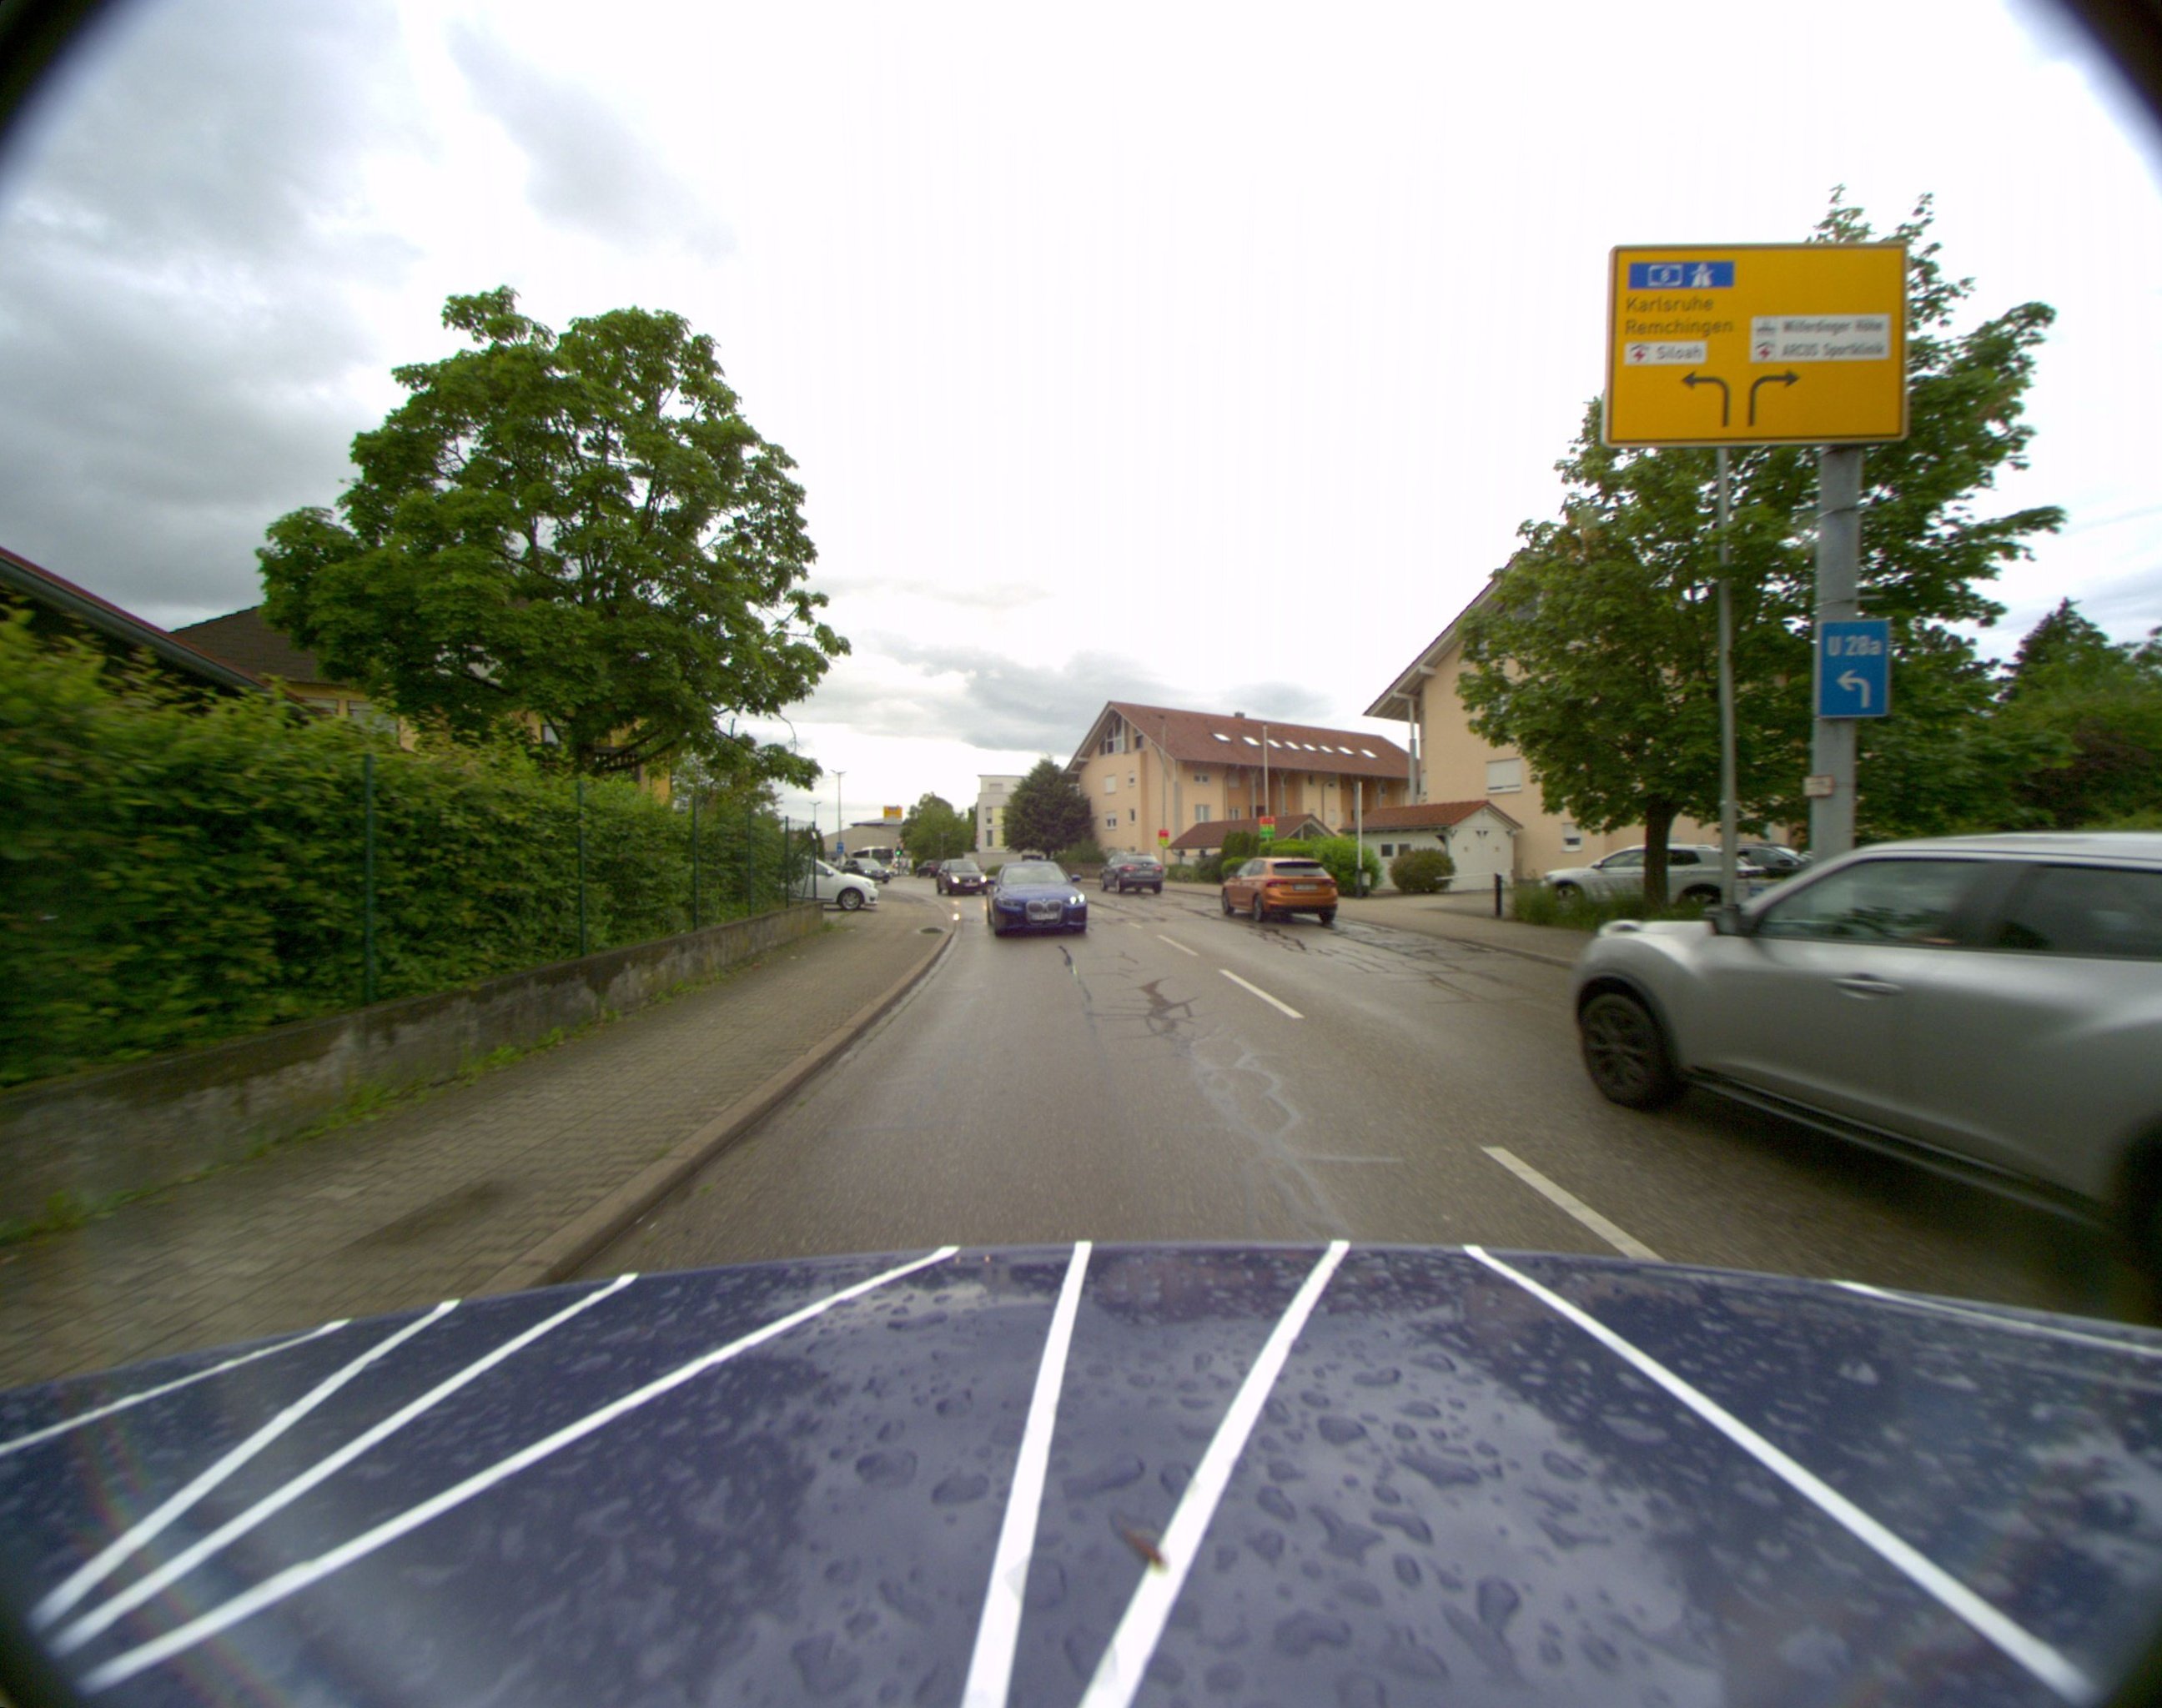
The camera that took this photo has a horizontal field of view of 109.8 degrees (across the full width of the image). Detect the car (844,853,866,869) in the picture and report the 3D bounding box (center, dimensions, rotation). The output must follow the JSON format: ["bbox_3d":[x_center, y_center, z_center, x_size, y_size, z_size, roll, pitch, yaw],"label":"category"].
[{"bbox_3d":[-26.111,0.740,87.848,1.544,1.805,3.592,-1,1,-32],"label":"car"}]

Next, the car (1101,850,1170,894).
[{"bbox_3d":[2.172,0.671,31.306,1.884,1.686,3.996,0,0,-10],"label":"car"}]

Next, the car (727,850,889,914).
[{"bbox_3d":[-7.550,0.767,21.125,4.005,1.550,1.878,3,-1,-22],"label":"car"}]

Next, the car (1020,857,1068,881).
[{"bbox_3d":[-2.338,0.884,46.610,1.886,1.328,3.993,0,0,-19],"label":"car"}]

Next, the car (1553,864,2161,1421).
[{"bbox_3d":[3.894,0.836,2.949,1.667,1.516,4.000,0,0,1],"label":"car"}]

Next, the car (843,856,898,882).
[{"bbox_3d":[-13.728,0.964,49.493,1.845,1.541,3.989,-2,1,-41],"label":"car"}]

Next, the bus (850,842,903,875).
[{"bbox_3d":[-21.033,0.411,77.557,2.792,3.115,10.833,-1,1,-29],"label":"bus"}]

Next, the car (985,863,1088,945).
[{"bbox_3d":[-0.995,0.970,16.561,1.914,1.425,4.298,-2,1,-4],"label":"car"}]

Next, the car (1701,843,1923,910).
[{"bbox_3d":[16.769,0.455,17.590,1.519,1.373,3.431,-1,1,-33],"label":"car"}]

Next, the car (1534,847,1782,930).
[{"bbox_3d":[12.513,0.644,16.729,1.741,1.592,3.989,-1,1,-33],"label":"car"}]

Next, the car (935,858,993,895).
[{"bbox_3d":[-5.162,0.947,33.212,1.843,1.440,3.993,-2,1,-18],"label":"car"}]

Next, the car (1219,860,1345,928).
[{"bbox_3d":[4.585,0.847,17.901,1.690,1.377,3.771,0,0,-5],"label":"car"}]

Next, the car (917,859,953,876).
[{"bbox_3d":[-12.227,1.127,63.439,1.887,1.328,3.991,0,1,-28],"label":"car"}]
